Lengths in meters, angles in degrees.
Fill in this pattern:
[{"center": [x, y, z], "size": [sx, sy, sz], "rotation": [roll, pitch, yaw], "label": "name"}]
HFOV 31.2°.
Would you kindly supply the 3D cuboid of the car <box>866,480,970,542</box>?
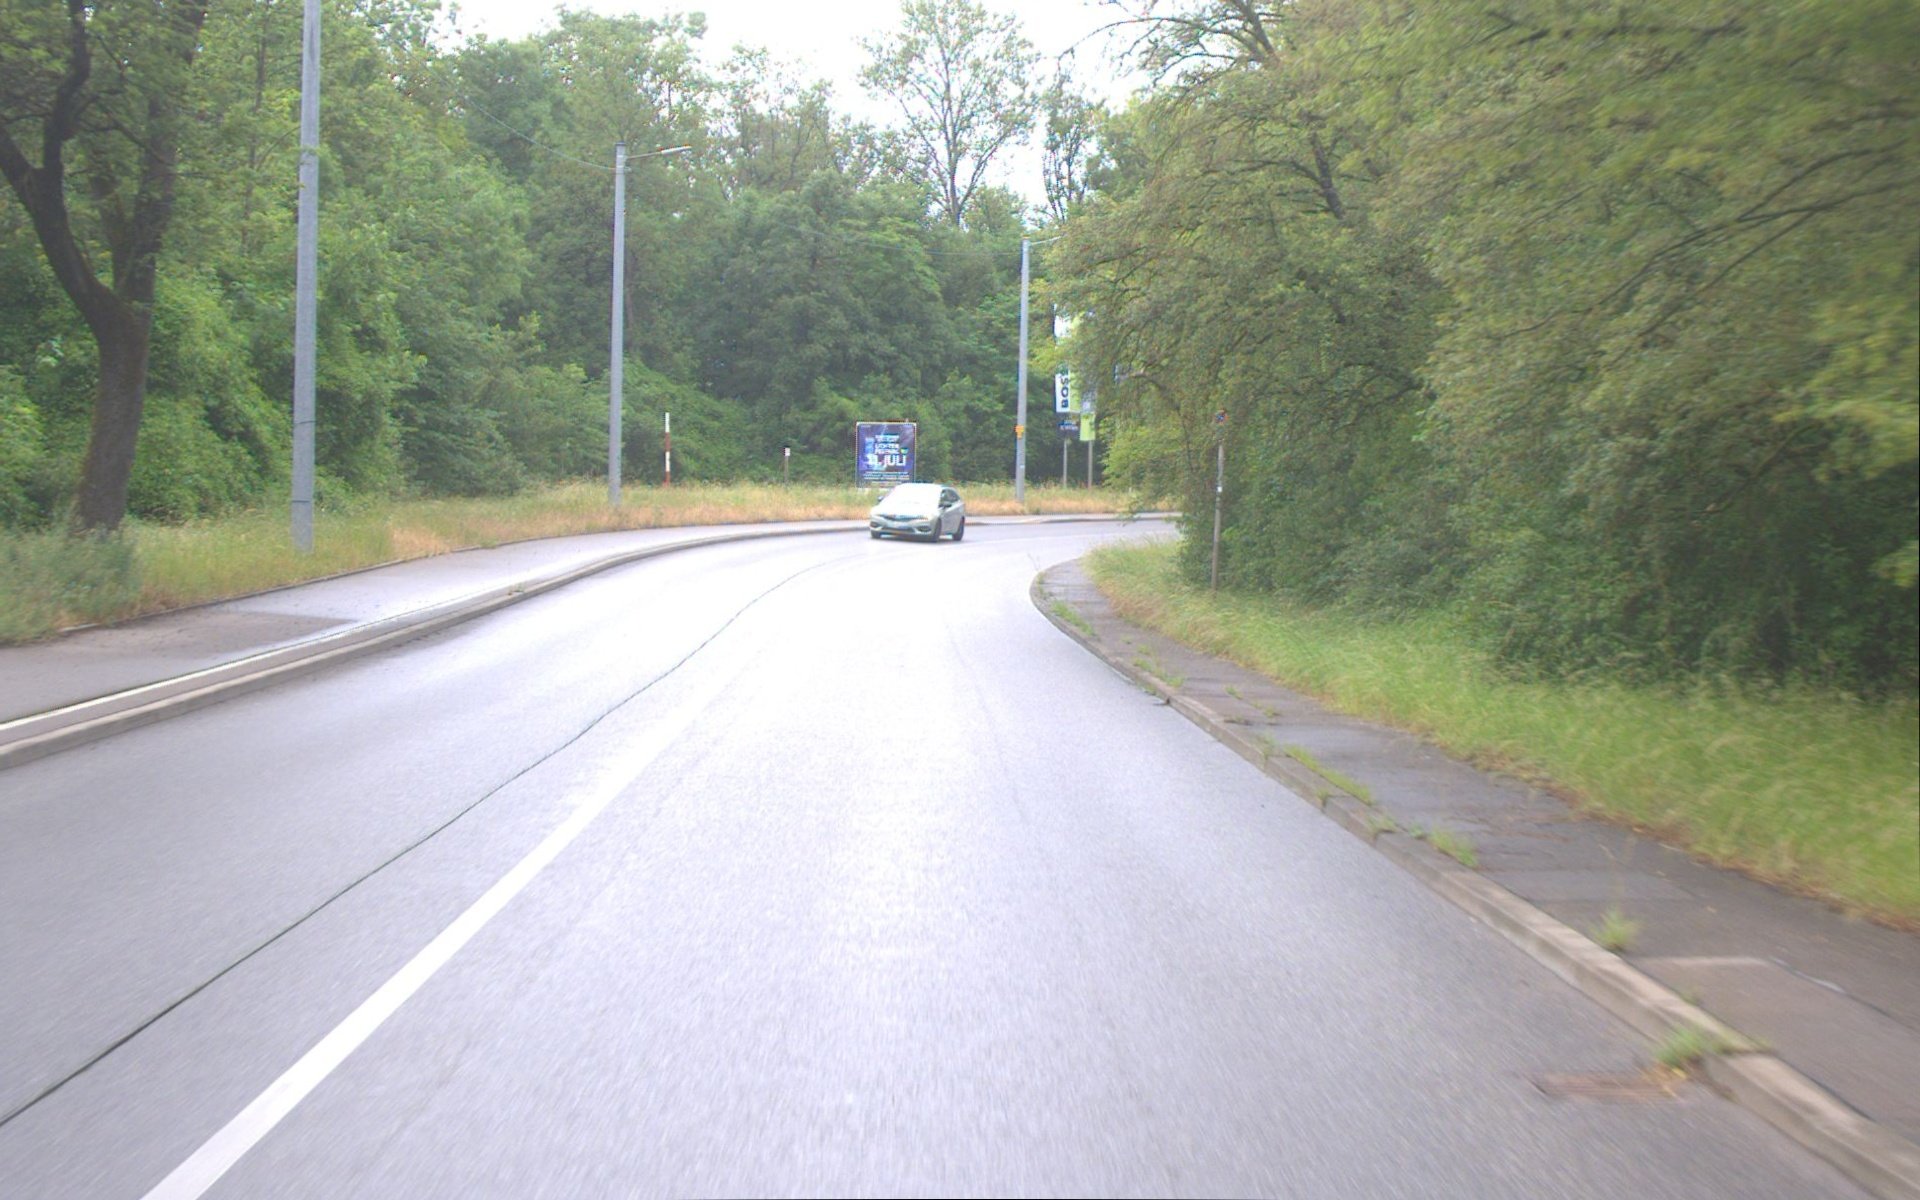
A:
[{"center": [-1.072, -2.369, 90.595], "size": [1.781, 1.425, 4.473], "rotation": [5, 3, 11], "label": "car"}]
